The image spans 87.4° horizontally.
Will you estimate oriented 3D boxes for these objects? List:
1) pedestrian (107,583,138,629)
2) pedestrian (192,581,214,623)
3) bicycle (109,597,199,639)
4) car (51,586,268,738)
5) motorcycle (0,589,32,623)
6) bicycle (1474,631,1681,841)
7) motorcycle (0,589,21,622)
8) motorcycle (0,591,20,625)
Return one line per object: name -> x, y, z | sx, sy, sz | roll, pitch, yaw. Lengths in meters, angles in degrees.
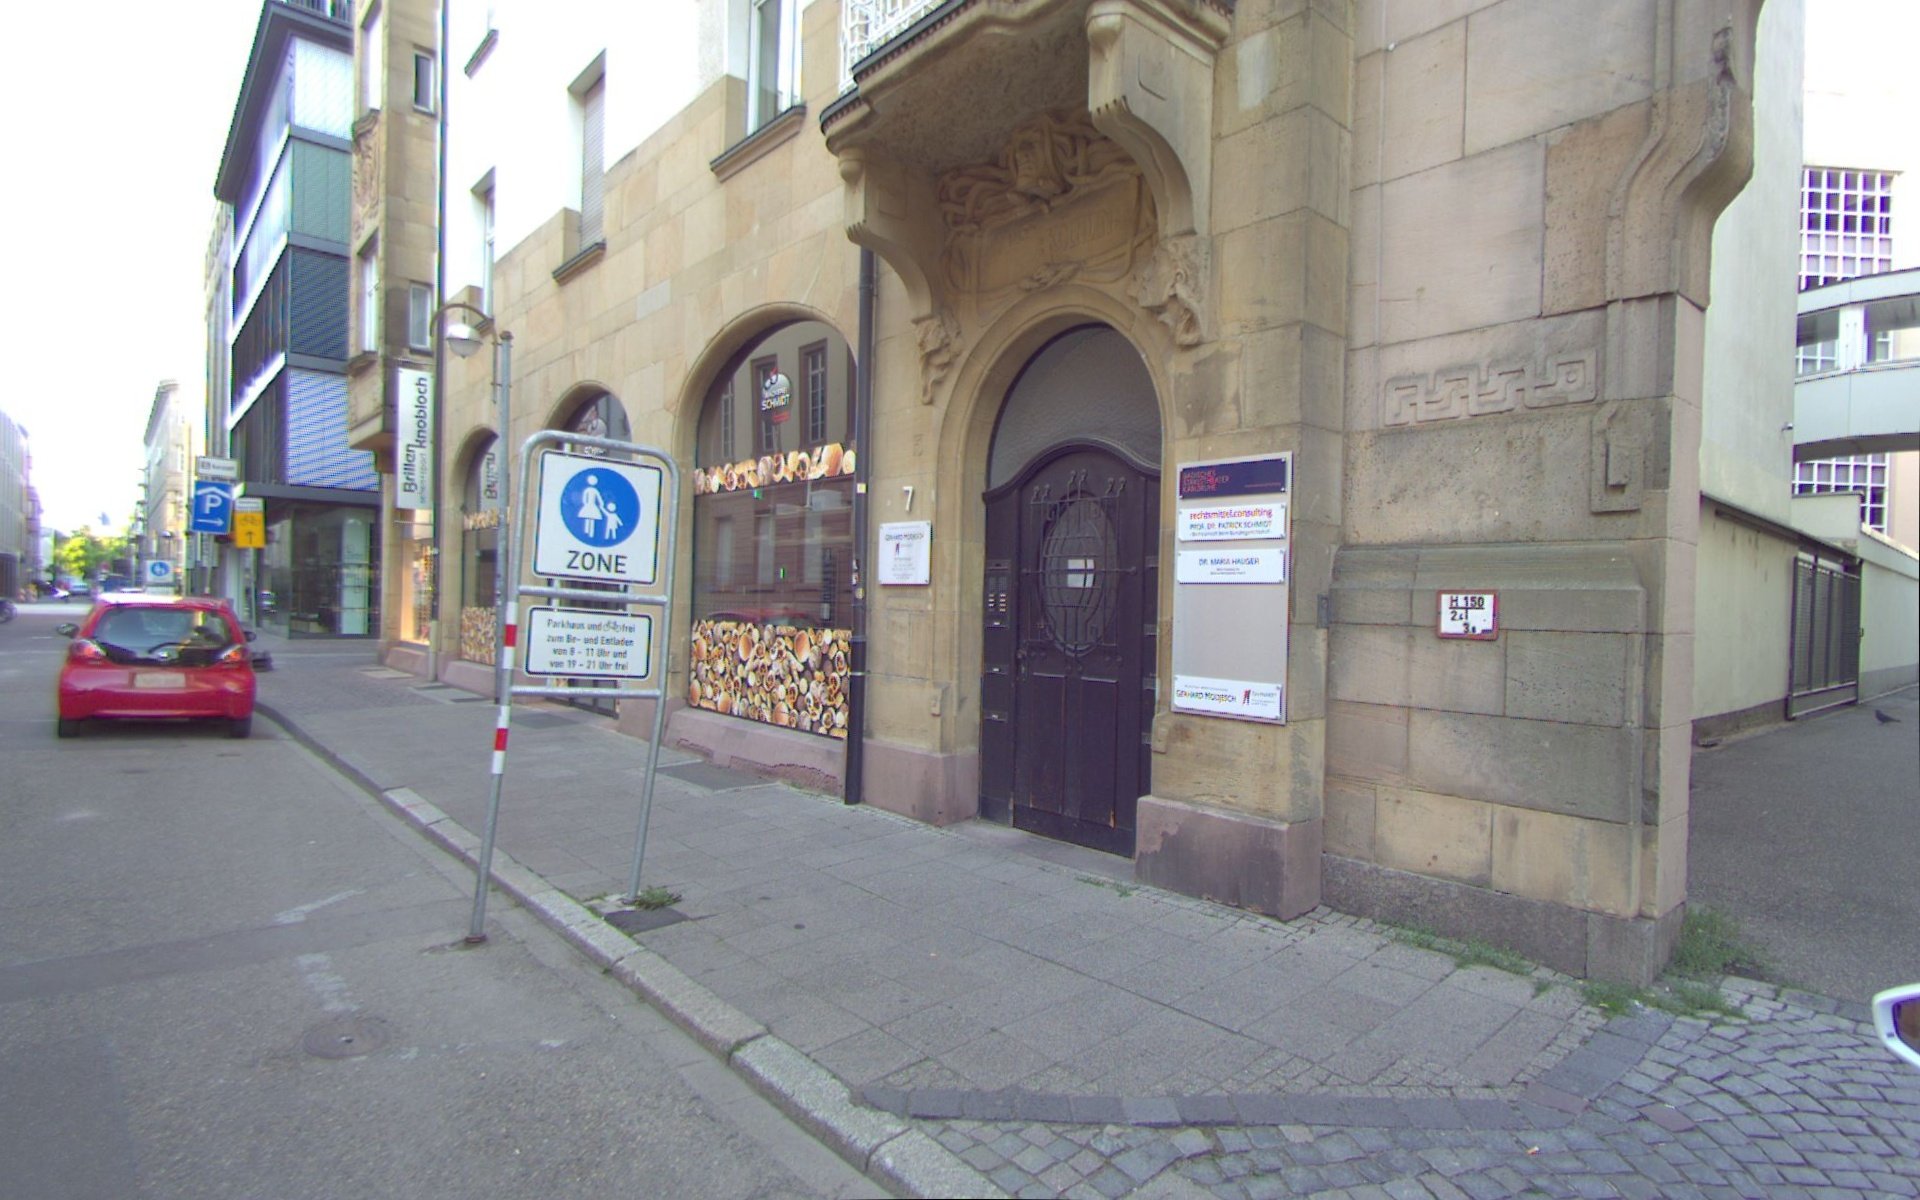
pedestrian -> -31.652, 0.223, 37.955 | 0.806, 1.693, 0.919 | 2, -1, -42
pedestrian -> -31.464, 0.093, 41.746 | 0.665, 1.693, 0.755 | 2, -1, -39
bicycle -> -22.477, 0.487, 28.045 | 1.938, 1.145, 0.613 | 0, 1, -40
car -> -9.056, 0.643, 11.393 | 1.626, 1.460, 3.120 | 5, -3, -40
motorcycle -> -38.212, 0.224, 39.672 | 2.176, 1.299, 0.644 | 3, -1, -39
bicycle -> 3.812, 0.745, 6.140 | 1.743, 1.094, 0.589 | 1, 0, -42
motorcycle -> -39.605, 0.202, 40.717 | 2.176, 1.299, 0.644 | 3, -1, -39
motorcycle -> -37.834, 0.291, 38.754 | 2.176, 1.299, 0.644 | 3, -1, -39
